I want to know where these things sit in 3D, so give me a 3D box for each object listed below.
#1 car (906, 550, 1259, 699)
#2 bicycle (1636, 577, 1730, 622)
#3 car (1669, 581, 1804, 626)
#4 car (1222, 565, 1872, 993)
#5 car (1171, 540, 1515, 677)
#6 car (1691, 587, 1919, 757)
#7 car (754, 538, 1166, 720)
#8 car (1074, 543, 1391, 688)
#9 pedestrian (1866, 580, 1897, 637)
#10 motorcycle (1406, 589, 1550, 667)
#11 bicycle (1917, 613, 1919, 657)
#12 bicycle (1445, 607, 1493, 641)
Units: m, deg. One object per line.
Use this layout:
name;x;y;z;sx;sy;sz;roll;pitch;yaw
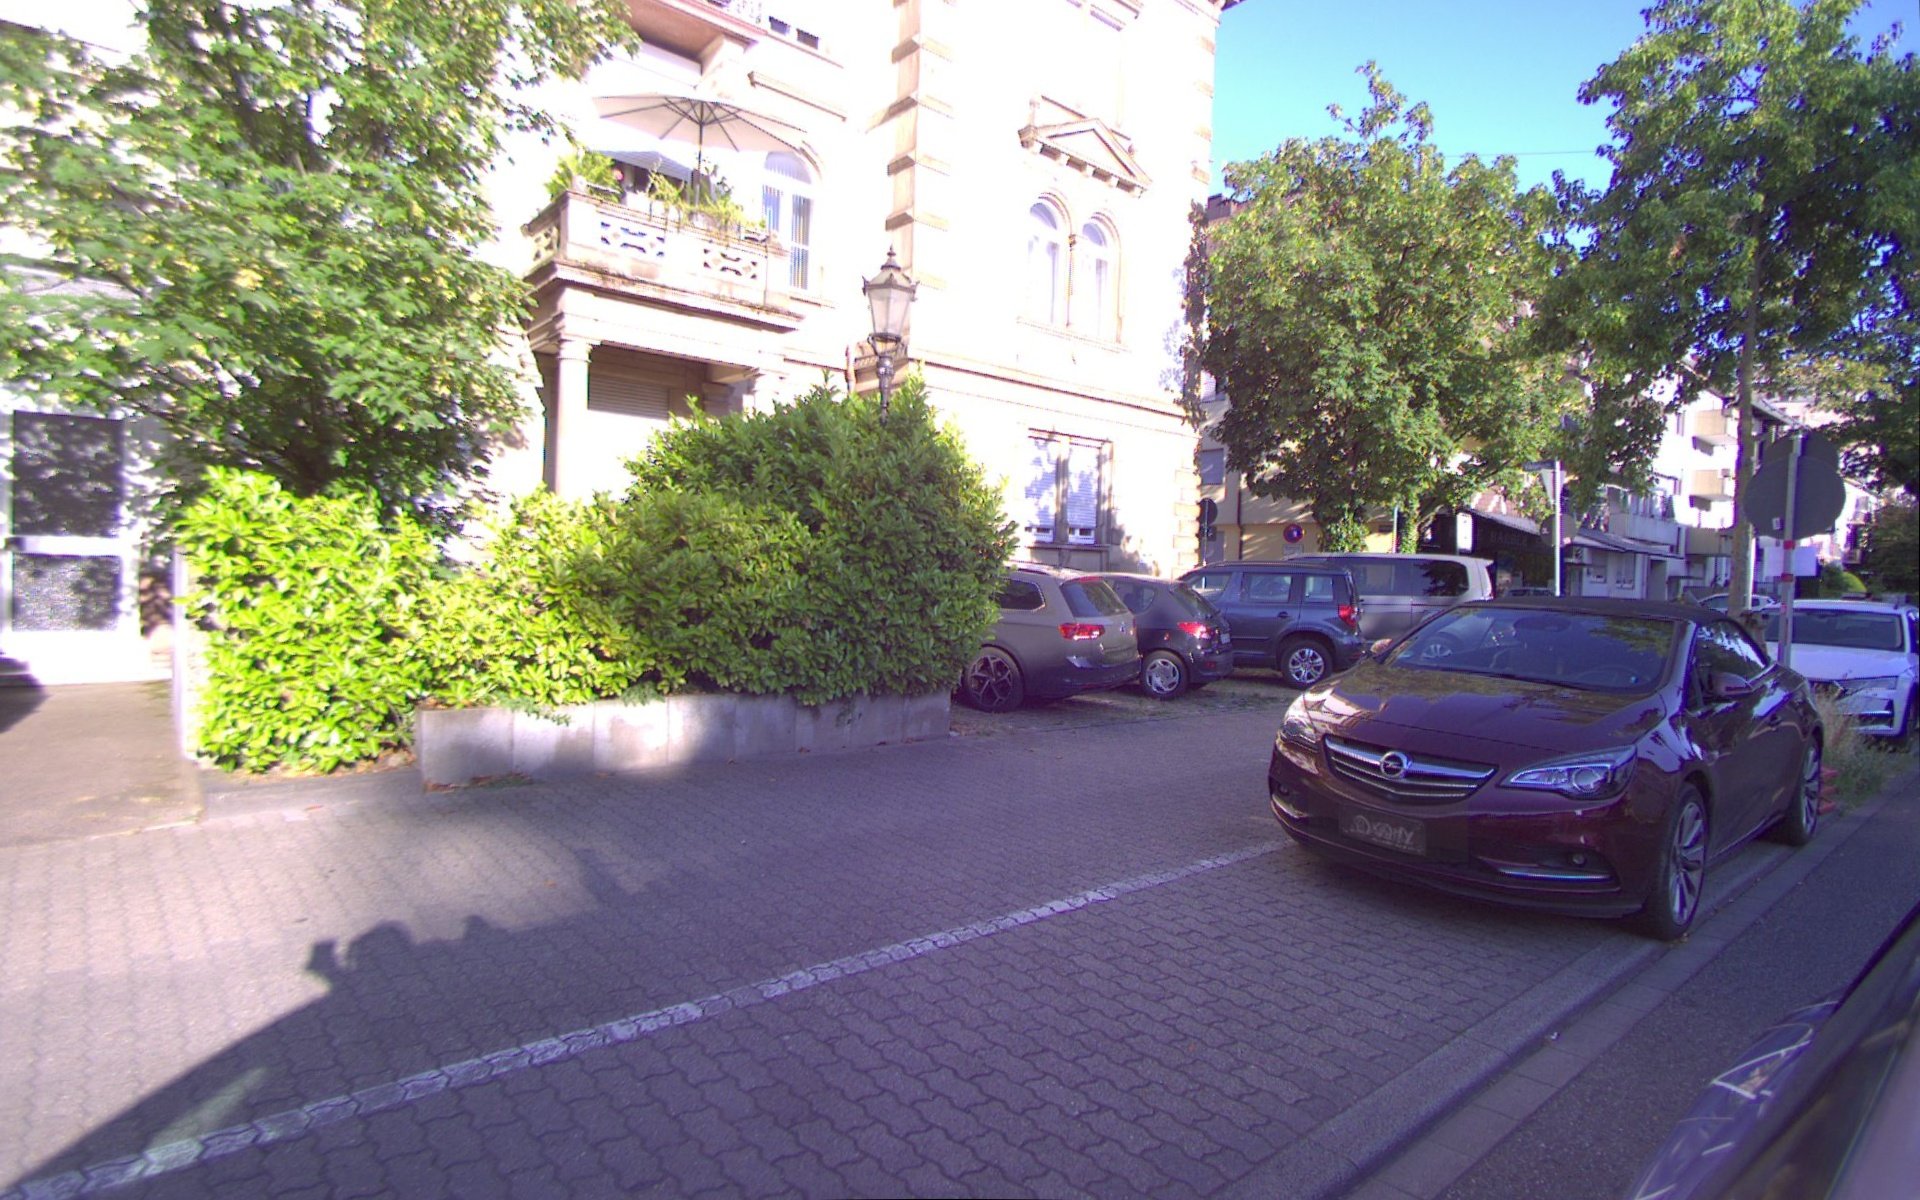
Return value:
car;1.513;0.215;12.794;4.061;1.458;1.701;4;3;27
bicycle;24.848;-0.028;34.829;0.912;1.459;2.457;0;2;-42
car;29.555;0.104;38.591;1.550;1.523;3.869;0;2;-45
car;3.583;0.614;5.737;4.534;1.437;1.761;0;4;-41
car;6.034;0.050;16.365;4.881;1.923;1.907;2;1;22
car;9.895;0.640;11.246;4.540;1.496;1.825;0;2;-40
car;-0.080;0.195;11.180;4.220;1.529;1.772;4;3;32
car;3.826;0.134;14.375;4.050;1.720;1.776;3;2;21
pedestrian;29.754;0.272;32.666;0.552;1.794;0.619;2;1;-40
motorcycle;9.259;0.459;18.148;2.153;1.255;0.778;3;2;40
bicycle;21.878;0.745;21.696;0.602;1.176;1.905;1;3;-13
bicycle;12.527;0.576;24.901;1.504;0.777;0.486;0;2;-40
